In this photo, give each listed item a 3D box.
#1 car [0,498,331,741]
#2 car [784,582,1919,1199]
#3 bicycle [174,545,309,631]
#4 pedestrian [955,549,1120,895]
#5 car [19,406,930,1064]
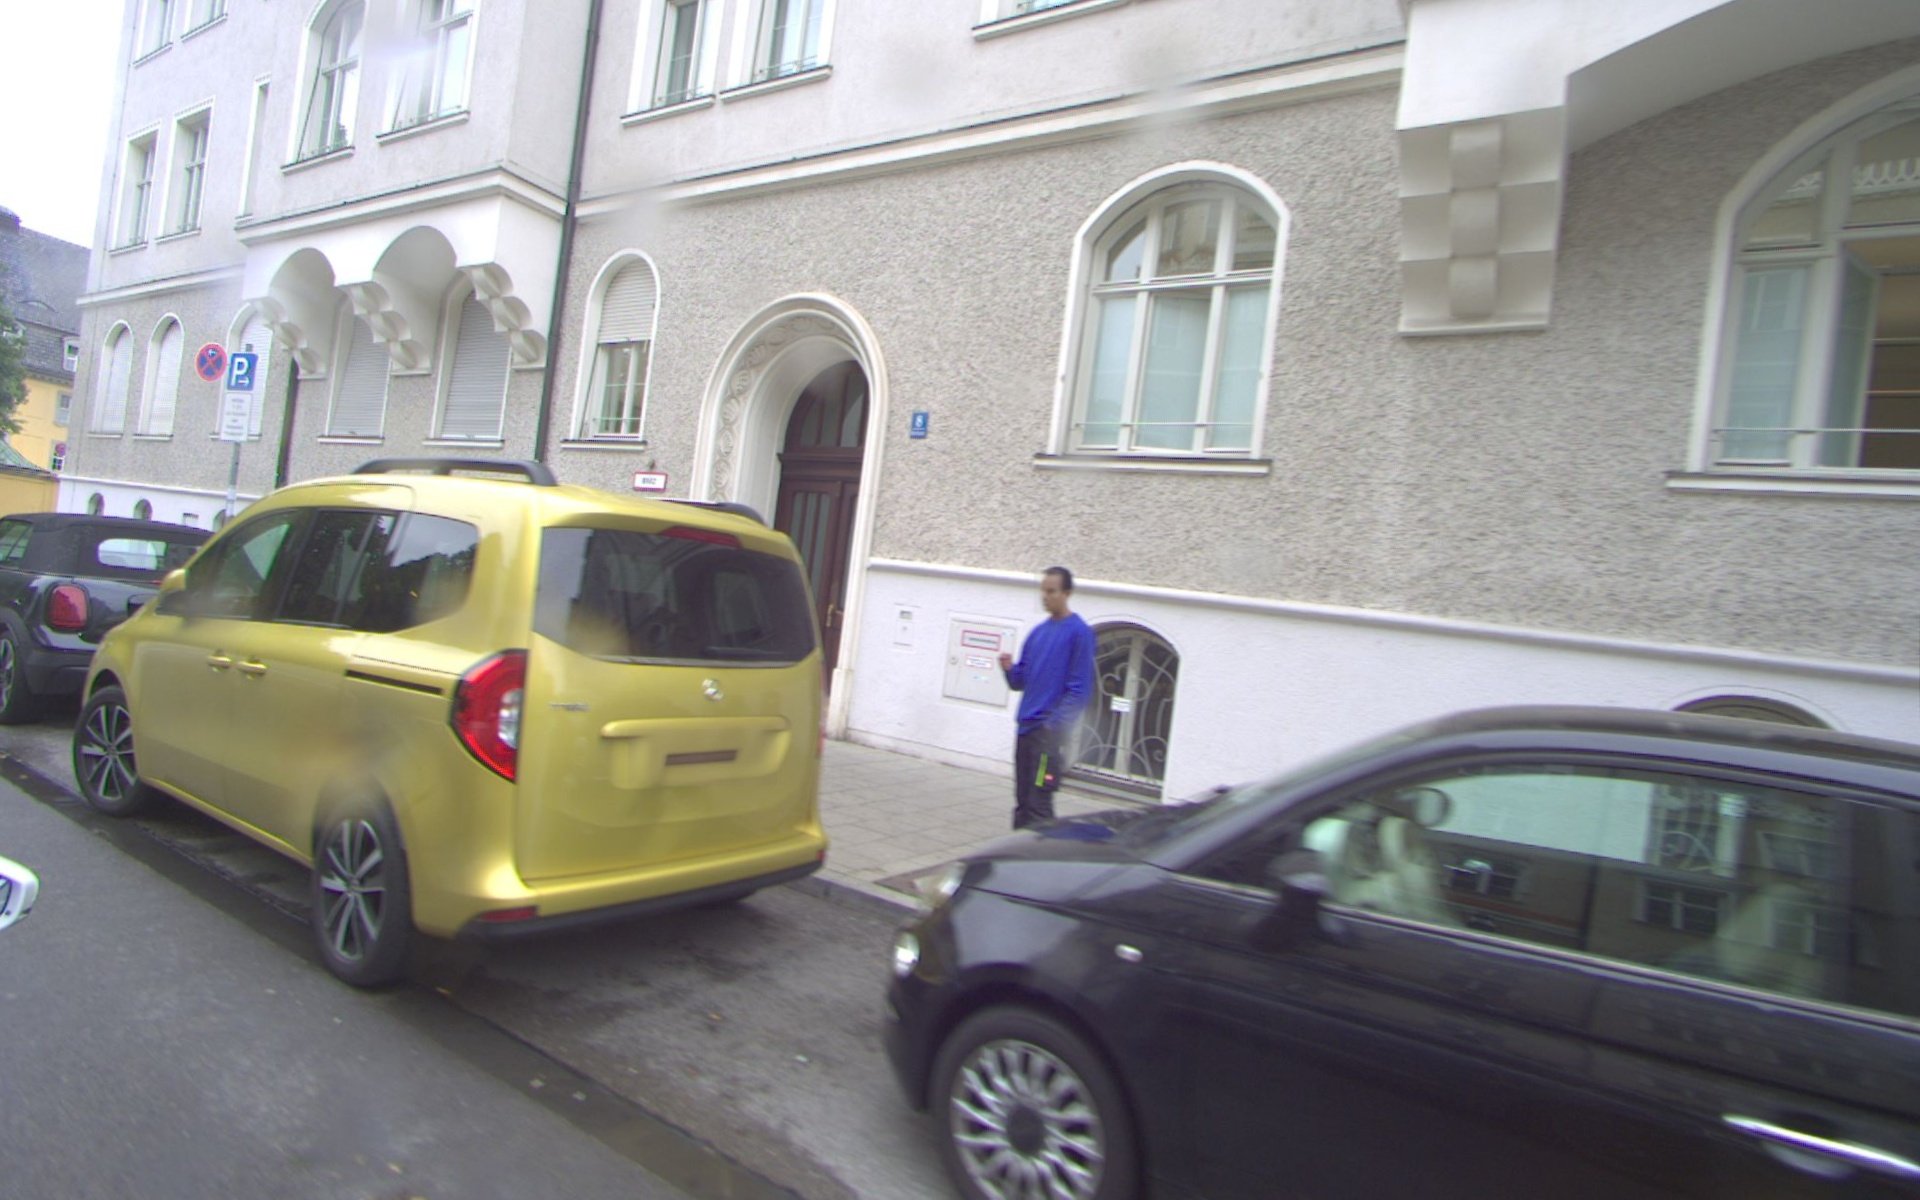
[{"bbox_3d":[-6.880,0.026,7.927,3.765,1.462,1.714,7,-1,33],"label":"car"},{"bbox_3d":[1.623,0.981,2.456,3.822,1.532,1.636,7,-1,33],"label":"car"},{"bbox_3d":[-11.893,-0.219,16.614,2.712,1.128,0.838,7,3,33],"label":"bicycle"},{"bbox_3d":[0.433,0.639,5.461,0.447,1.722,0.639,7,0,31],"label":"pedestrian"},{"bbox_3d":[-2.643,0.268,5.050,4.498,1.941,1.995,7,-1,34],"label":"car"}]
